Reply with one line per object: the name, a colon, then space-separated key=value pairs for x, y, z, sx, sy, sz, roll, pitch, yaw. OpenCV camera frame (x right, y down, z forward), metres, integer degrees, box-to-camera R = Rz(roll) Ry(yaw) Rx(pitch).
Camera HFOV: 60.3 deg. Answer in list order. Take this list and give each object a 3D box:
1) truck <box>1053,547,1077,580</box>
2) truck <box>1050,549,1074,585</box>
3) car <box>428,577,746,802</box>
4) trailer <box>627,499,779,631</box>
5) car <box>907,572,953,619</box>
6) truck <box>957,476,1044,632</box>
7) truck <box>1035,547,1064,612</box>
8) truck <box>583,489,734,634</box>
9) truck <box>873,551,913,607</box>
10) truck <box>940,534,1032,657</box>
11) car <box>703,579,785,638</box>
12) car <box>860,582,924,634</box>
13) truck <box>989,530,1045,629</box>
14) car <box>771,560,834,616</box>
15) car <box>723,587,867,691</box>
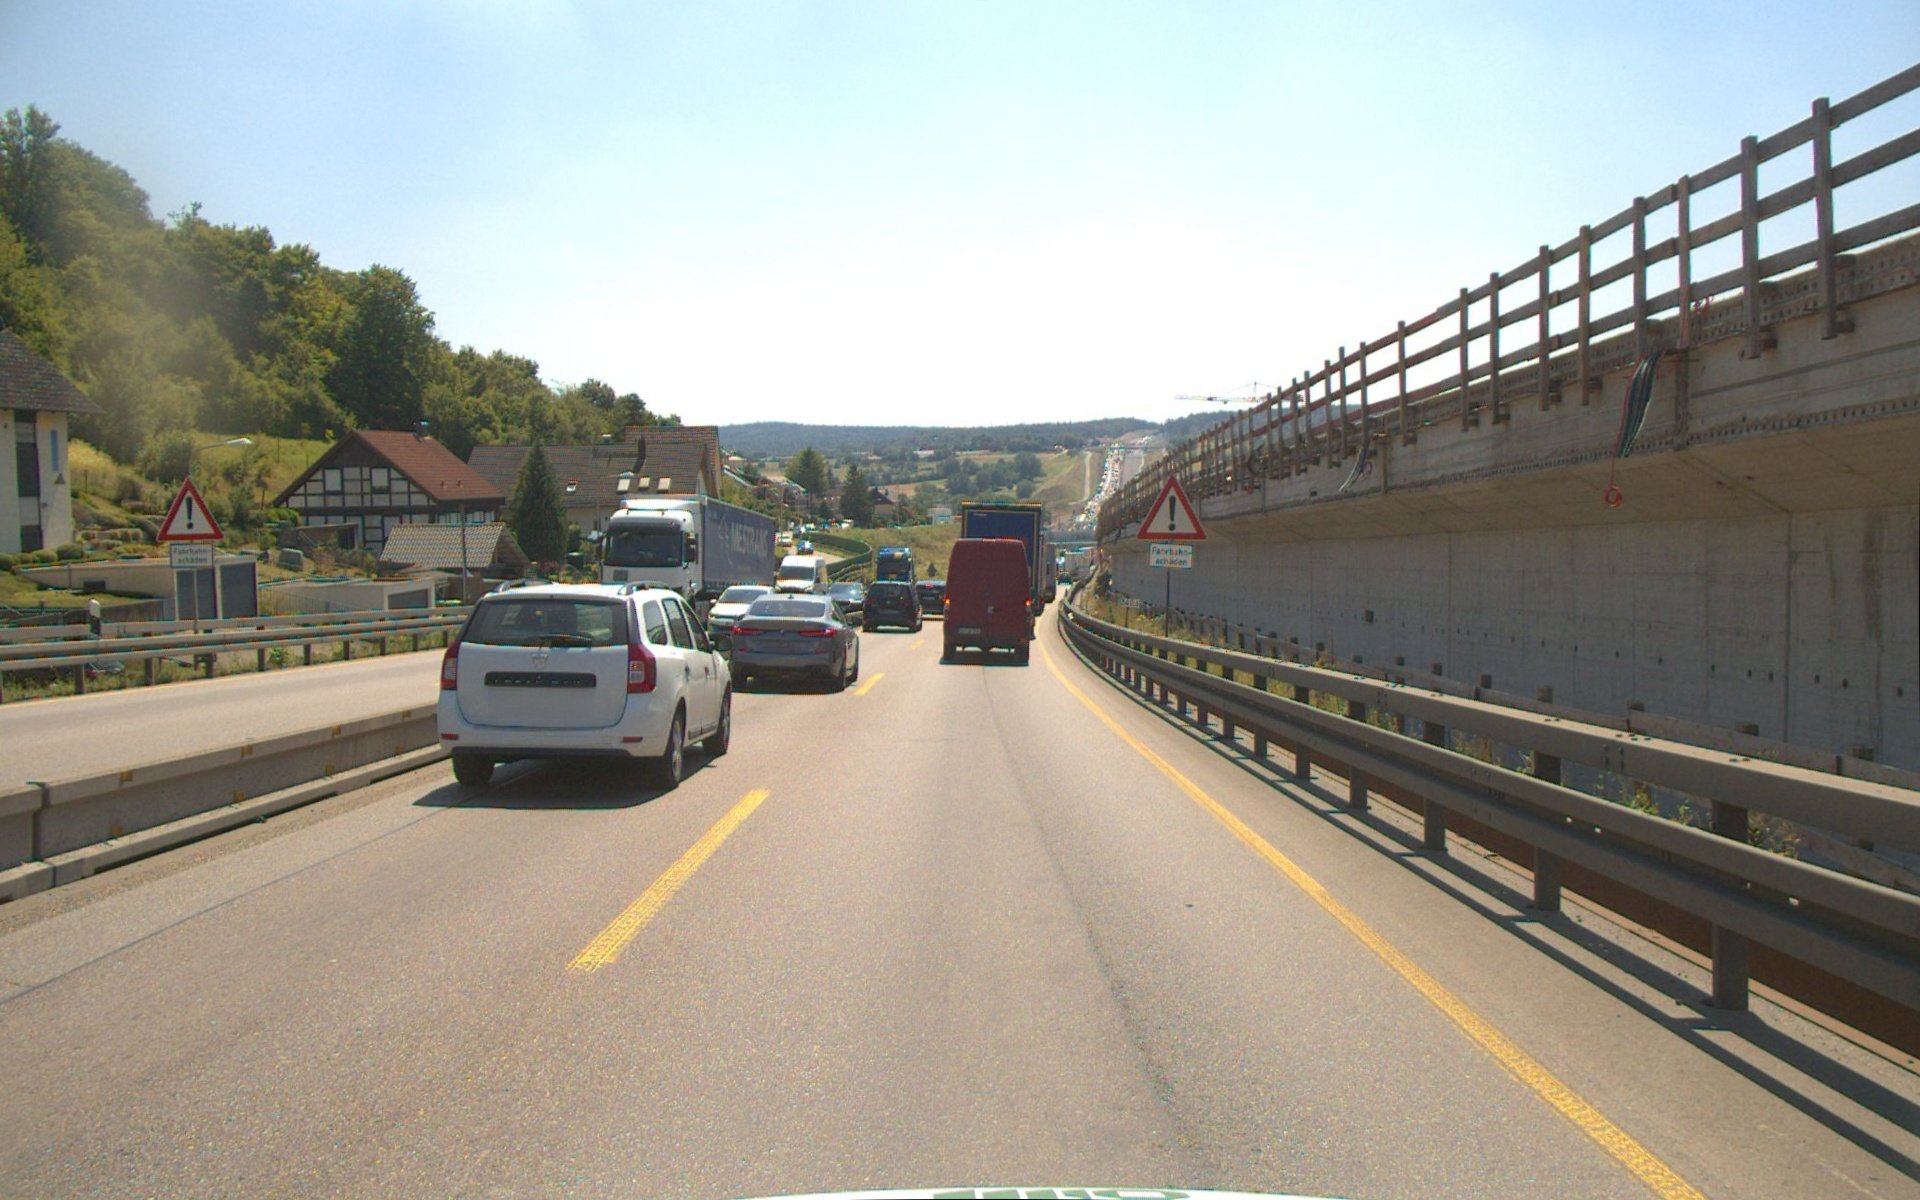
truck: x=15.326 y=-5.326 z=239.964 sx=3.394 sy=4.458 sz=8.561 roll=0 pitch=-1 yaw=4
truck: x=13.472 y=-4.262 z=218.085 sx=3.004 sy=4.458 sz=8.561 roll=0 pitch=-1 yaw=4
car: x=-2.869 y=0.639 z=13.628 sx=1.618 sy=1.509 sz=4.266 roll=-2 pitch=0 yaw=0
trailer: x=-8.798 y=-1.165 z=58.292 sx=3.070 sy=4.151 sz=11.822 roll=0 pitch=0 yaw=2
car: x=-1.214 y=-0.165 z=68.097 sx=1.693 sy=1.870 sz=4.001 roll=0 pitch=-1 yaw=2
truck: x=1.501 y=-1.391 z=56.858 sx=2.728 sy=4.900 sz=9.687 roll=0 pitch=-1 yaw=3
truck: x=6.409 y=-1.421 z=117.878 sx=1.951 sy=4.458 sz=4.002 roll=0 pitch=-1 yaw=4
truck: x=-9.104 y=-1.134 z=50.800 sx=3.070 sy=4.151 sz=6.882 roll=0 pitch=0 yaw=3
truck: x=-4.929 y=-1.521 z=122.993 sx=2.456 sy=4.035 sz=5.177 roll=0 pitch=-1 yaw=3
truck: x=0.604 y=-0.067 z=37.468 sx=1.952 sy=2.624 sz=4.000 roll=0 pitch=-1 yaw=1
car: x=-5.984 y=0.208 z=46.162 sx=1.636 sy=1.562 sz=4.191 roll=0 pitch=1 yaw=1
car: x=-2.212 y=0.279 z=54.817 sx=1.772 sy=1.636 sz=3.720 roll=0 pitch=-1 yaw=3
truck: x=3.036 y=-0.939 z=86.519 sx=2.728 sy=4.900 sz=9.687 roll=0 pitch=-1 yaw=3
car: x=-7.710 y=-0.621 z=81.584 sx=1.963 sy=2.649 sz=5.983 roll=0 pitch=1 yaw=5
car: x=-2.517 y=0.590 z=26.099 sx=1.757 sy=1.511 sz=4.050 roll=0 pitch=-1 yaw=1
